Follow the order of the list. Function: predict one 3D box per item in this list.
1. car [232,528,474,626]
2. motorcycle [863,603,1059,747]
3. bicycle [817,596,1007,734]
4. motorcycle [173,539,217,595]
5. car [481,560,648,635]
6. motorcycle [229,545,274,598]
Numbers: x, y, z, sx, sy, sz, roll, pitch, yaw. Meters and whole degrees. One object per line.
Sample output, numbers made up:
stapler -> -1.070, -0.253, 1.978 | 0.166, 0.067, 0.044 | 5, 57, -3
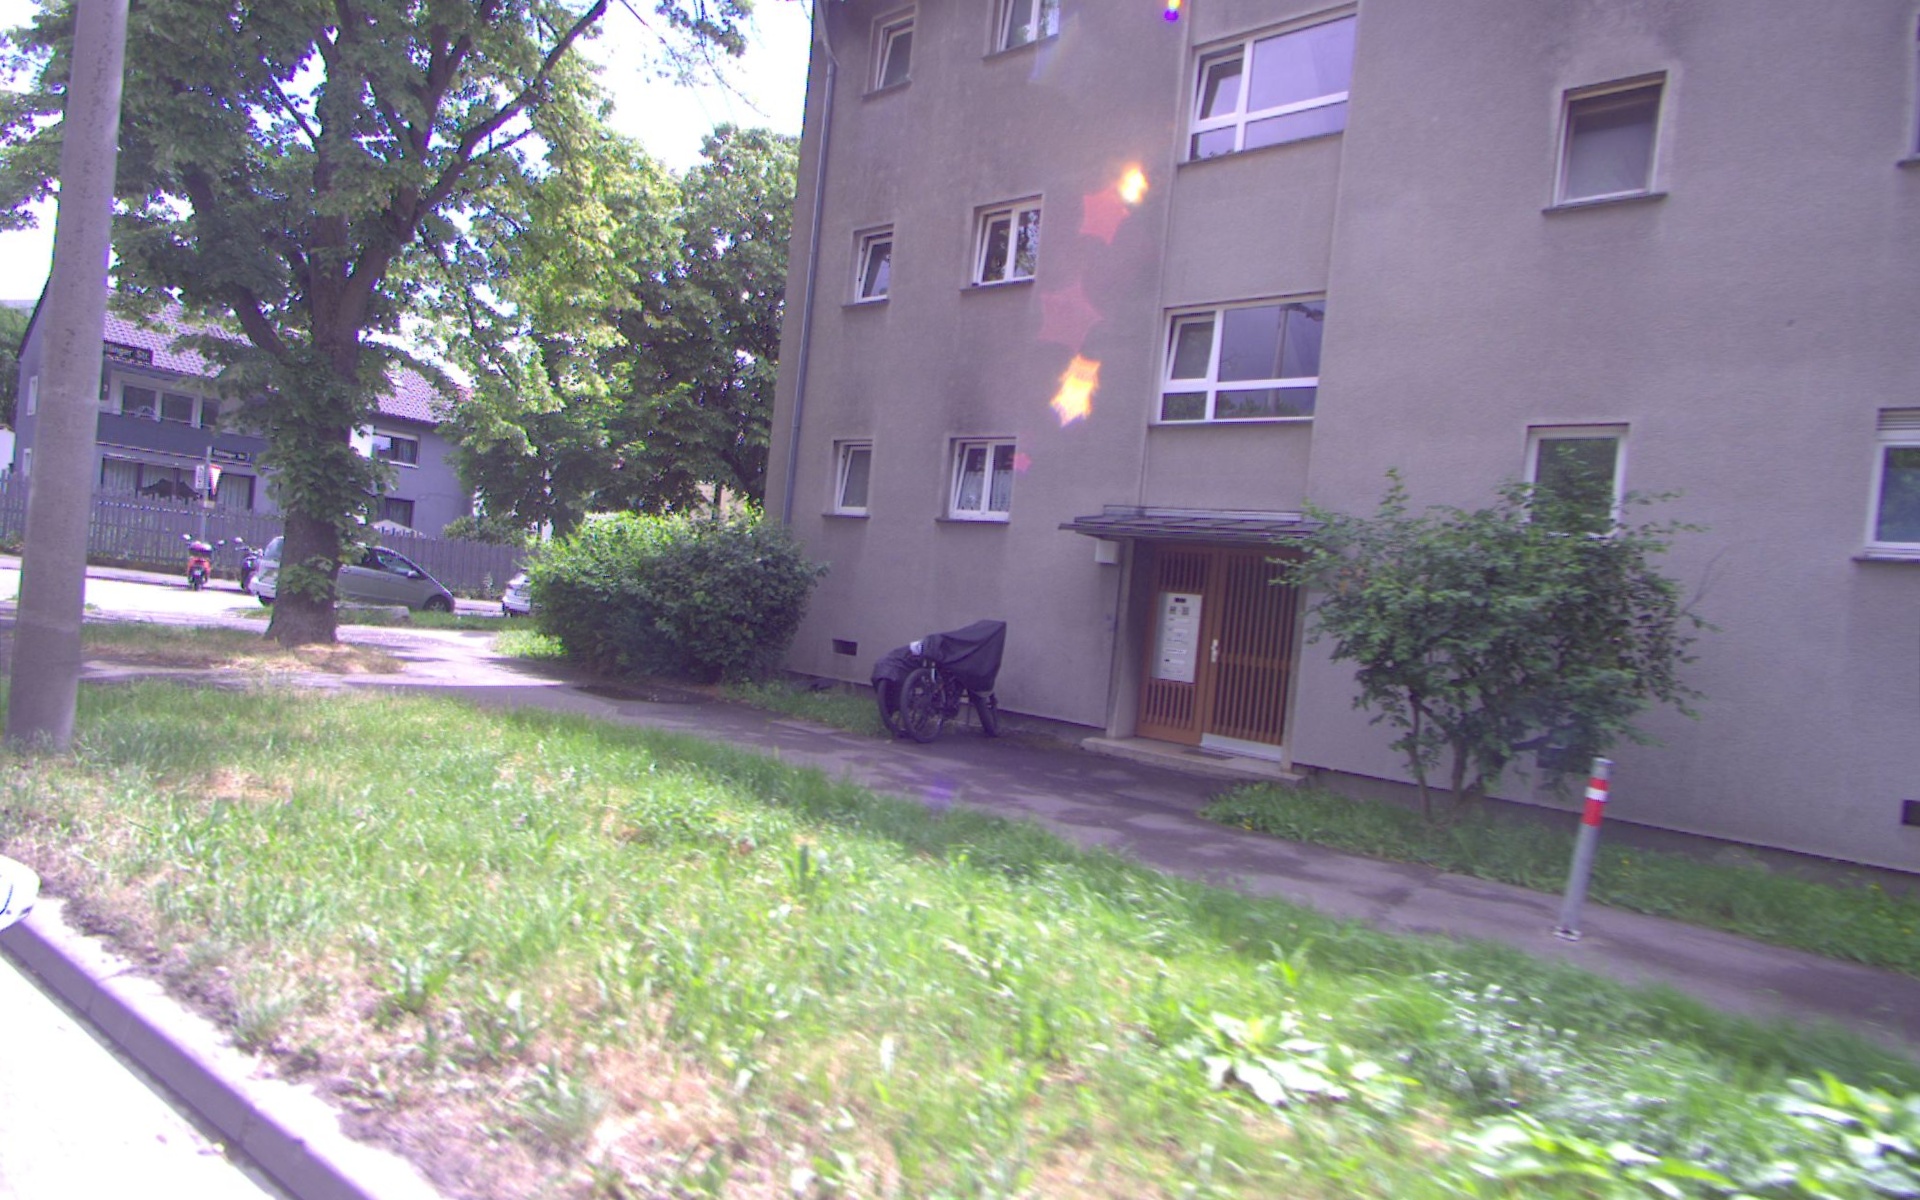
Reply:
car -> -12.919, -0.431, 21.703 | 1.904, 1.572, 3.999 | 7, -1, 24
motorcycle -> 0.068, 0.782, 10.411 | 0.671, 1.298, 2.201 | 6, 0, 40
bicycle -> -0.462, 0.715, 10.871 | 0.671, 1.298, 2.164 | 6, 0, 40
motorcycle -> -18.226, -0.805, 23.951 | 0.656, 1.162, 2.398 | 7, -1, -39
car -> -10.592, -0.010, 27.249 | 1.750, 1.582, 4.016 | 8, 0, 24
motorcycle -> -17.652, -0.722, 25.041 | 0.656, 1.162, 1.971 | 7, -1, -39
